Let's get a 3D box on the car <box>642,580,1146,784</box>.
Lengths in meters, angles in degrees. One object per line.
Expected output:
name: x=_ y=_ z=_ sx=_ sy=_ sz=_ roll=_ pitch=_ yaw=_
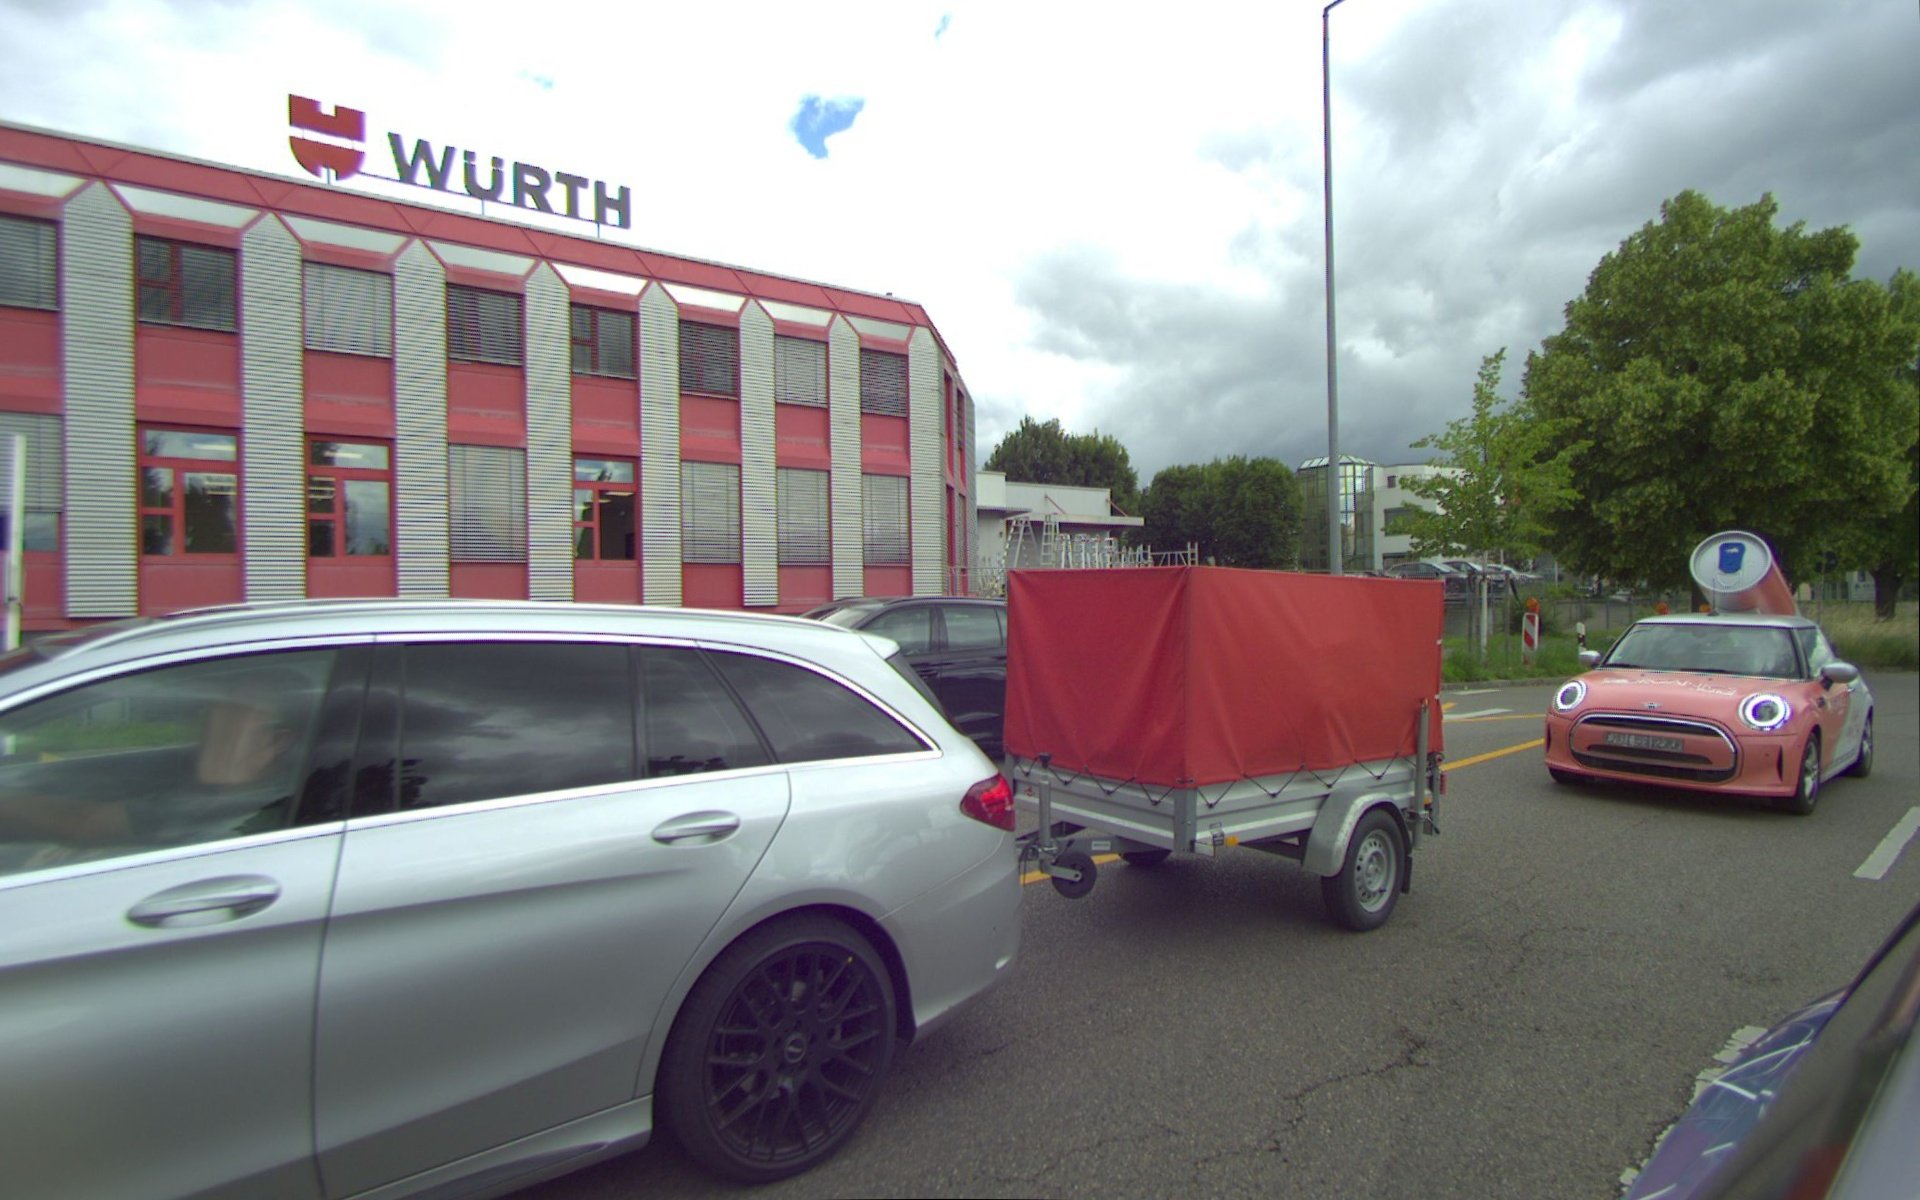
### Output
car: x=-0.498 y=0.578 z=9.147 sx=4.196 sy=1.450 sz=1.842 roll=0 pitch=0 yaw=-34

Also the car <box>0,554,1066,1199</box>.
car: x=-1.924 y=0.650 z=2.377 sx=4.407 sy=1.466 sz=1.676 roll=0 pitch=0 yaw=-38

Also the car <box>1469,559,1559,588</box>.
car: x=29.924 y=-1.419 z=54.778 sx=1.721 sy=1.501 sz=3.941 roll=0 pitch=0 yaw=-32

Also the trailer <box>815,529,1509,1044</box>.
trailer: x=1.097 y=0.579 z=4.733 sx=3.243 sy=1.614 sz=1.413 roll=0 pitch=0 yaw=-38

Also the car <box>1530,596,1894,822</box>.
car: x=6.443 y=0.715 z=8.541 sx=3.631 sy=1.475 sz=1.722 roll=0 pitch=0 yaw=-41

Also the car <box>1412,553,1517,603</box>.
car: x=21.663 y=-0.902 z=43.559 sx=1.610 sy=1.984 sz=3.769 roll=2 pitch=-2 yaw=-32

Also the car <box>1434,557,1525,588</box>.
car: x=26.329 y=-1.347 z=51.349 sx=1.721 sy=1.381 sz=3.769 roll=2 pitch=-2 yaw=-32
